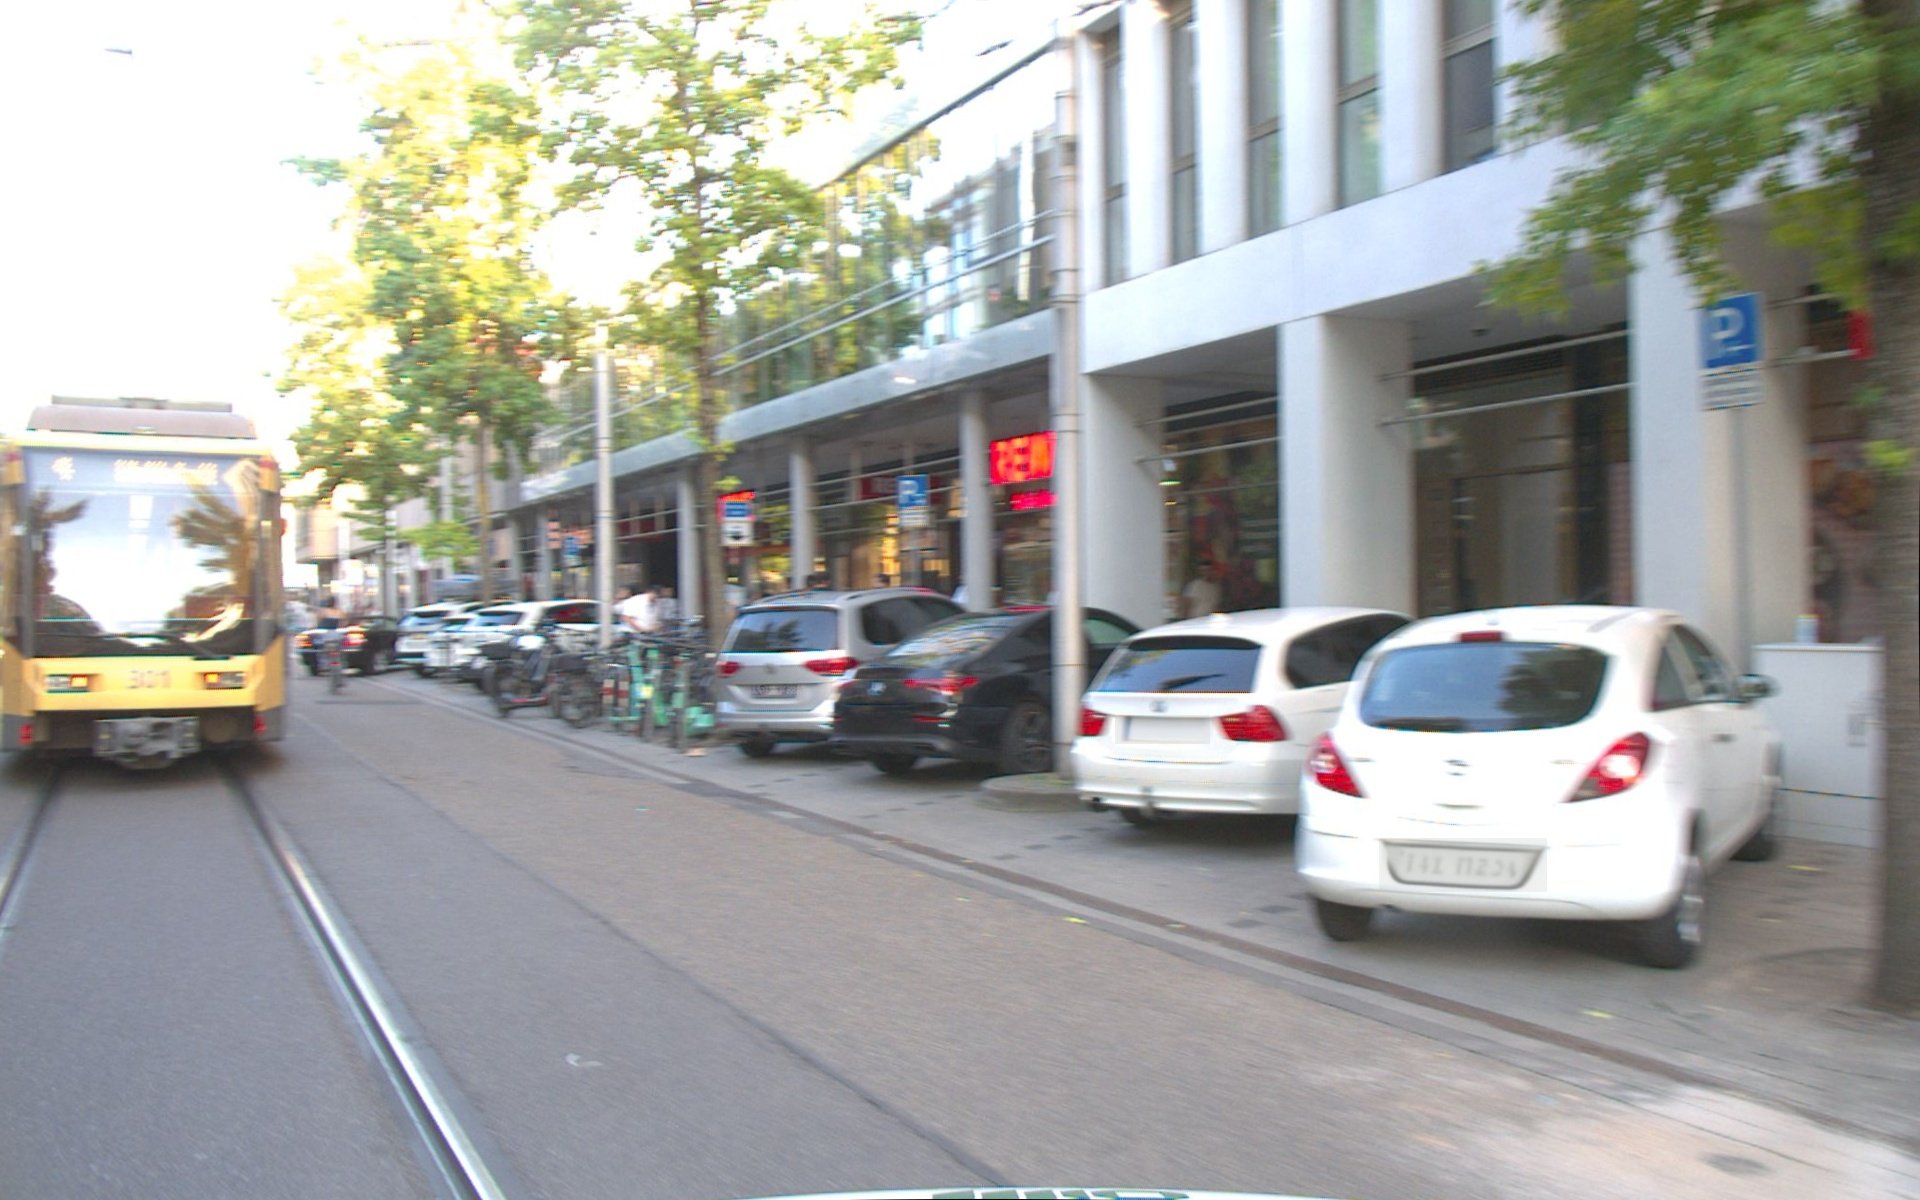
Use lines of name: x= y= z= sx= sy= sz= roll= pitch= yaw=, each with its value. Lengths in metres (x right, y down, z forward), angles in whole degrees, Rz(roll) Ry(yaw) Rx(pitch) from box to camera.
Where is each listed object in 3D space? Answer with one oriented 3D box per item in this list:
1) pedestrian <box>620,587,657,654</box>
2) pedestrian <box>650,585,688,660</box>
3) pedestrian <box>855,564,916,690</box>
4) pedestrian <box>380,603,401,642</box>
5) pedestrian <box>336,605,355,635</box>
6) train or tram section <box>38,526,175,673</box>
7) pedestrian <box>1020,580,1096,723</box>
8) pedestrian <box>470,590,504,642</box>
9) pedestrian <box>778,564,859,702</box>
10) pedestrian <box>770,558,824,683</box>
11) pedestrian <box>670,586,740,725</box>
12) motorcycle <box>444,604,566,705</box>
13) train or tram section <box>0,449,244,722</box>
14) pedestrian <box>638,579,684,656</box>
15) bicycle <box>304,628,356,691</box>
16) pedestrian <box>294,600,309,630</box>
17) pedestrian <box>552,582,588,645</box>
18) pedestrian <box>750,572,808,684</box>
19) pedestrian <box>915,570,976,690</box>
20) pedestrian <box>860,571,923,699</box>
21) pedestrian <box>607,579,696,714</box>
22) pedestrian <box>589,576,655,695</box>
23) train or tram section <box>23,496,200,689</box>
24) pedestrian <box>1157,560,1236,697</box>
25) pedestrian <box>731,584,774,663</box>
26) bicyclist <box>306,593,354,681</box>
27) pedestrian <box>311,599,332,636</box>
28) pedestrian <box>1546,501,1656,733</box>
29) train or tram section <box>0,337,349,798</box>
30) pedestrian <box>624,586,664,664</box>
pedestrian: x=-8.127 y=0.504 z=41.754 sx=0.589 sy=1.644 sz=1.012 roll=-3 pitch=2 yaw=-28
pedestrian: x=-6.770 y=0.525 z=38.489 sx=0.654 sy=1.729 sz=0.798 roll=0 pitch=-1 yaw=-28
pedestrian: x=-1.134 y=0.396 z=25.002 sx=0.649 sy=1.844 sz=0.712 roll=-3 pitch=1 yaw=-23
pedestrian: x=-24.964 y=0.985 z=72.512 sx=0.693 sy=1.666 sz=0.640 roll=-3 pitch=2 yaw=-28
pedestrian: x=-29.044 y=0.925 z=78.199 sx=0.731 sy=1.351 sz=0.714 roll=-3 pitch=2 yaw=-27
train or tram section: x=-23.607 y=0.047 z=45.703 sx=3.010 sy=3.585 sz=10.432 roll=0 pitch=-1 yaw=-28
pedestrian: x=1.259 y=0.640 z=21.319 sx=0.672 sy=1.802 sz=0.798 roll=0 pitch=1 yaw=-28
pedestrian: x=-17.984 y=0.604 z=62.862 sx=1.041 sy=1.909 sz=0.921 roll=-3 pitch=2 yaw=-28
pedestrian: x=-1.954 y=0.442 z=23.019 sx=0.866 sy=1.844 sz=0.938 roll=-2 pitch=1 yaw=8
pedestrian: x=-2.458 y=0.300 z=25.009 sx=0.644 sy=1.844 sz=0.717 roll=-2 pitch=1 yaw=2
pedestrian: x=-3.171 y=0.672 z=20.622 sx=0.775 sy=1.654 sz=0.768 roll=-3 pitch=1 yaw=-9
motorcycle: x=-7.420 y=0.861 z=27.087 sx=0.777 sy=1.497 sz=2.207 roll=-1 pitch=2 yaw=18
train or tram section: x=-13.756 y=-0.145 z=27.025 sx=2.973 sy=3.585 sz=10.305 roll=0 pitch=0 yaw=-28
pedestrian: x=-7.353 y=0.415 z=40.655 sx=0.867 sy=1.813 sz=0.748 roll=-3 pitch=2 yaw=-28
bicycle: x=-11.356 y=1.052 z=29.769 sx=0.648 sy=1.079 sz=2.038 roll=1 pitch=-1 yaw=-27
pedestrian: x=-39.523 y=0.905 z=99.240 sx=0.693 sy=1.713 sz=0.674 roll=-3 pitch=2 yaw=-27
pedestrian: x=-11.857 y=0.399 z=50.295 sx=0.823 sy=1.868 sz=0.935 roll=-2 pitch=1 yaw=-27
pedestrian: x=-3.052 y=0.467 z=27.939 sx=0.773 sy=1.844 sz=0.660 roll=-2 pitch=1 yaw=8
pedestrian: x=-0.202 y=0.404 z=22.584 sx=0.746 sy=1.599 sz=0.631 roll=-2 pitch=0 yaw=-5
pedestrian: x=-1.002 y=0.494 z=24.013 sx=0.717 sy=1.784 sz=0.714 roll=-3 pitch=1 yaw=-14
pedestrian: x=-4.681 y=0.687 z=25.067 sx=0.943 sy=1.946 sz=0.850 roll=-5 pitch=3 yaw=-39
pedestrian: x=-5.450 y=0.568 z=26.710 sx=0.586 sy=1.843 sz=0.819 roll=-1 pitch=3 yaw=24
train or tram section: x=-18.667 y=-0.102 z=36.332 sx=2.969 sy=3.585 sz=10.744 roll=-1 pitch=0 yaw=-28
pedestrian: x=3.056 y=0.351 z=21.433 sx=0.672 sy=1.729 sz=0.798 roll=0 pitch=1 yaw=-28
pedestrian: x=-4.169 y=0.474 z=33.232 sx=0.672 sy=1.575 sz=0.658 roll=0 pitch=-1 yaw=-28
bicyclist: x=-11.322 y=0.660 z=29.721 sx=0.718 sy=1.553 sz=0.727 roll=1 pitch=-2 yaw=-27
pedestrian: x=-31.057 y=0.853 z=80.466 sx=0.878 sy=1.813 sz=0.744 roll=0 pitch=-1 yaw=-30
pedestrian: x=5.187 y=0.123 z=13.370 sx=0.668 sy=1.802 sz=0.803 roll=1 pitch=1 yaw=33
train or tram section: x=-8.939 y=-0.201 z=17.923 sx=2.982 sy=3.585 sz=10.273 roll=-1 pitch=0 yaw=-28
pedestrian: x=-7.137 y=0.570 z=37.375 sx=0.672 sy=1.729 sz=0.798 roll=0 pitch=-1 yaw=-28
